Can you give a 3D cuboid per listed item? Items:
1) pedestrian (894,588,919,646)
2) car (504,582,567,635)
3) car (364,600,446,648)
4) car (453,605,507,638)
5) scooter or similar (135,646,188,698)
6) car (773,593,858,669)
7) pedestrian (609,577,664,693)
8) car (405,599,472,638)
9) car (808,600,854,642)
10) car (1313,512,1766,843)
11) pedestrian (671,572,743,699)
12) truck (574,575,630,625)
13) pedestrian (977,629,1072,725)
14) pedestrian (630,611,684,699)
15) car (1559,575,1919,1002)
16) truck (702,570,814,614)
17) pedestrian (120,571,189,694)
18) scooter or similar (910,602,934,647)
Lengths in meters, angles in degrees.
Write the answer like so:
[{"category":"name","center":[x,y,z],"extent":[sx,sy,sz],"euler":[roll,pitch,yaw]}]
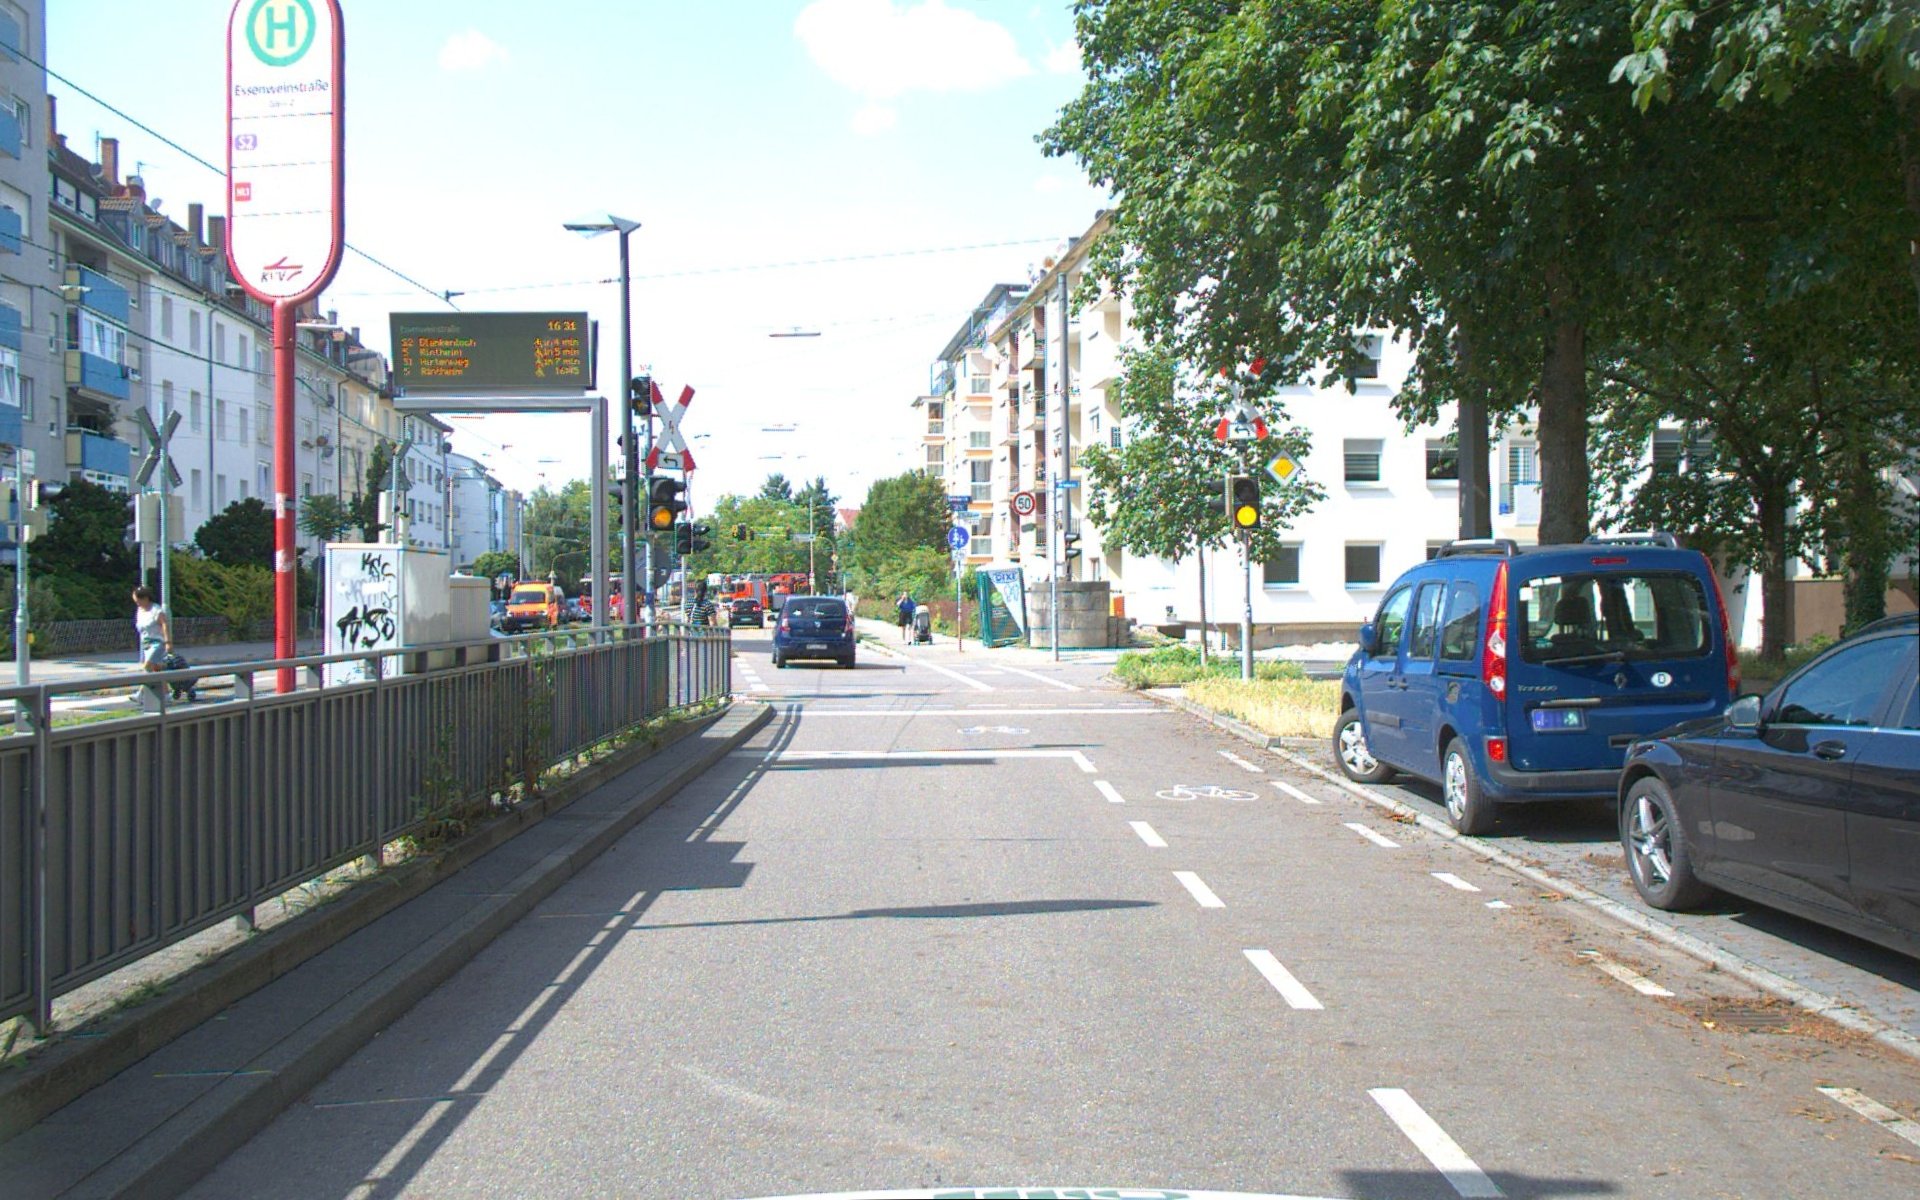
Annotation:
[{"category":"pedestrian","center":[-1.717,0.538,52.879],"extent":[0.687,1.820,1.029],"euler":[-3,0,-3]},{"category":"car","center":[-19.111,0.362,74.700],"extent":[1.954,2.315,4.829],"euler":[1,0,-5]},{"category":"car","center":[-20.375,0.873,60.918],"extent":[1.955,1.674,3.995],"euler":[1,-1,-5]},{"category":"car","center":[-22.256,0.980,76.797],"extent":[1.734,1.467,3.994],"euler":[1,-1,-7]},{"category":"scooter or similar","center":[-11.451,1.023,23.741],"extent":[0.433,0.711,0.700],"euler":[-1,0,-2]},{"category":"car","center":[-3.114,0.656,36.145],"extent":[1.709,1.533,3.996],"euler":[1,-1,-4]},{"category":"pedestrian","center":[-4.775,0.517,24.459],"extent":[0.692,1.677,0.636],"euler":[2,-1,-5]},{"category":"car","center":[-21.048,0.740,66.898],"extent":[1.734,1.467,3.995],"euler":[1,-1,-5]},{"category":"car","center":[-4.838,0.775,61.713],"extent":[1.591,1.491,3.506],"euler":[1,-1,-6]},{"category":"car","center":[3.929,0.442,12.034],"extent":[1.785,1.929,4.183],"euler":[-2,1,0]},{"category":"pedestrian","center":[-3.497,0.481,22.825],"extent":[0.833,1.697,0.794],"euler":[-1,-1,-21]},{"category":"truck","center":[-24.138,0.011,111.748],"extent":[2.545,3.241,8.374],"euler":[-1,0,-4]},{"category":"pedestrian","center":[1.453,1.750,38.801],"extent":[1.953,2.049,3.999],"euler":[1,-1,-1]},{"category":"pedestrian","center":[-4.266,0.758,23.242],"extent":[0.627,1.201,0.794],"euler":[-1,-1,-19]},{"category":"car","center":[4.352,0.668,6.688],"extent":[1.879,1.467,4.794],"euler":[-3,1,-3]},{"category":"truck","center":[-17.164,-0.632,141.270],"extent":[2.631,3.531,10.093],"euler":[0,-1,45]},{"category":"pedestrian","center":[-11.306,0.450,23.228],"extent":[0.647,1.693,0.632],"euler":[-1,0,-2]},{"category":"scooter or similar","center":[-1.208,0.767,51.995],"extent":[0.649,1.326,0.868],"euler":[-4,0,-4]}]
